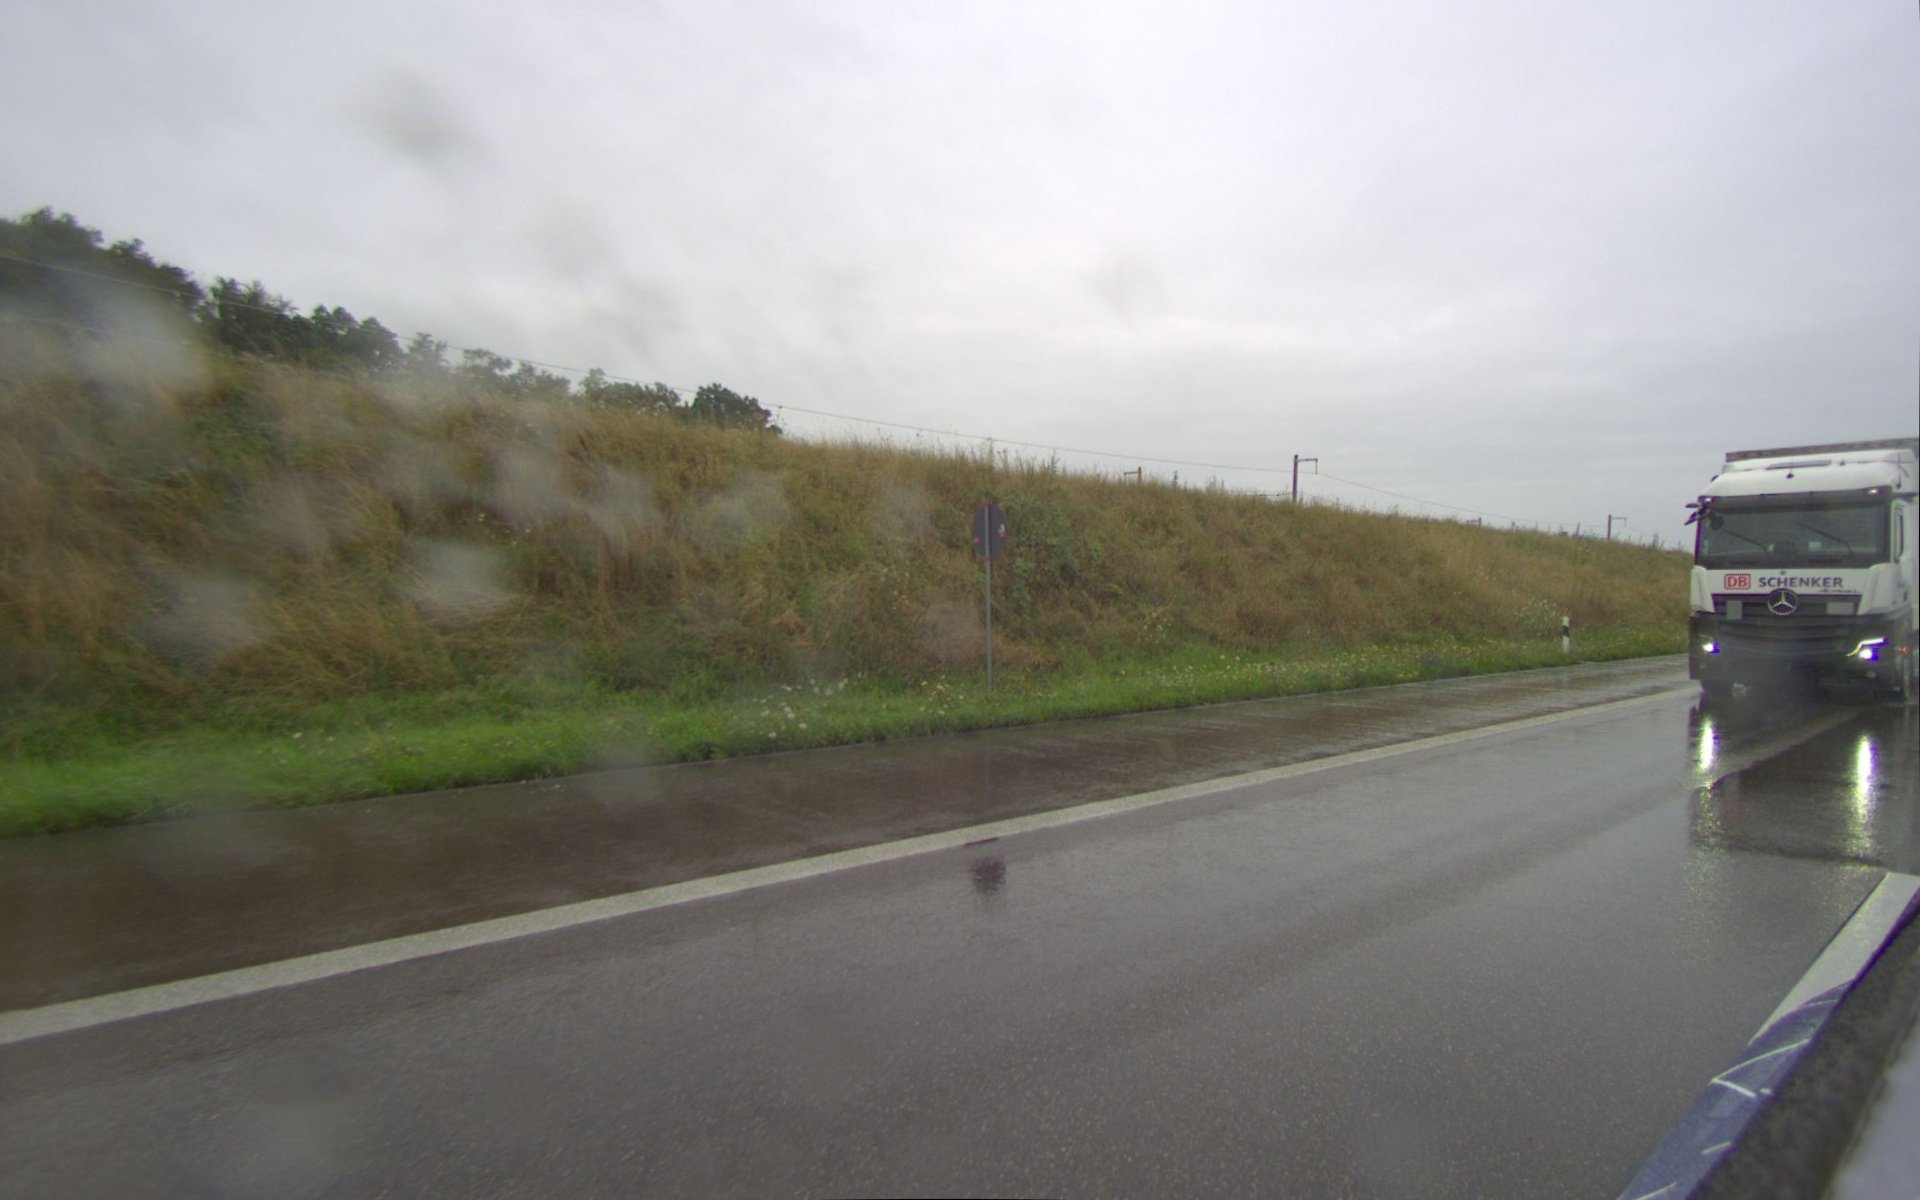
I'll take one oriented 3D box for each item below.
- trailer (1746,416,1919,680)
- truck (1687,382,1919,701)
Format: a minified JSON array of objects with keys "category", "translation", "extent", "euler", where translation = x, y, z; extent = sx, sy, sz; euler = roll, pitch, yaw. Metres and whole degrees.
[{"category":"trailer","translation":[20.284,-0.934,21.831],"extent":[13.929,4.302,2.631],"euler":[-1,0,-41]},{"category":"truck","translation":[13.934,-0.823,16.265],"extent":[4.956,4.307,2.630],"euler":[-1,0,-41]}]
